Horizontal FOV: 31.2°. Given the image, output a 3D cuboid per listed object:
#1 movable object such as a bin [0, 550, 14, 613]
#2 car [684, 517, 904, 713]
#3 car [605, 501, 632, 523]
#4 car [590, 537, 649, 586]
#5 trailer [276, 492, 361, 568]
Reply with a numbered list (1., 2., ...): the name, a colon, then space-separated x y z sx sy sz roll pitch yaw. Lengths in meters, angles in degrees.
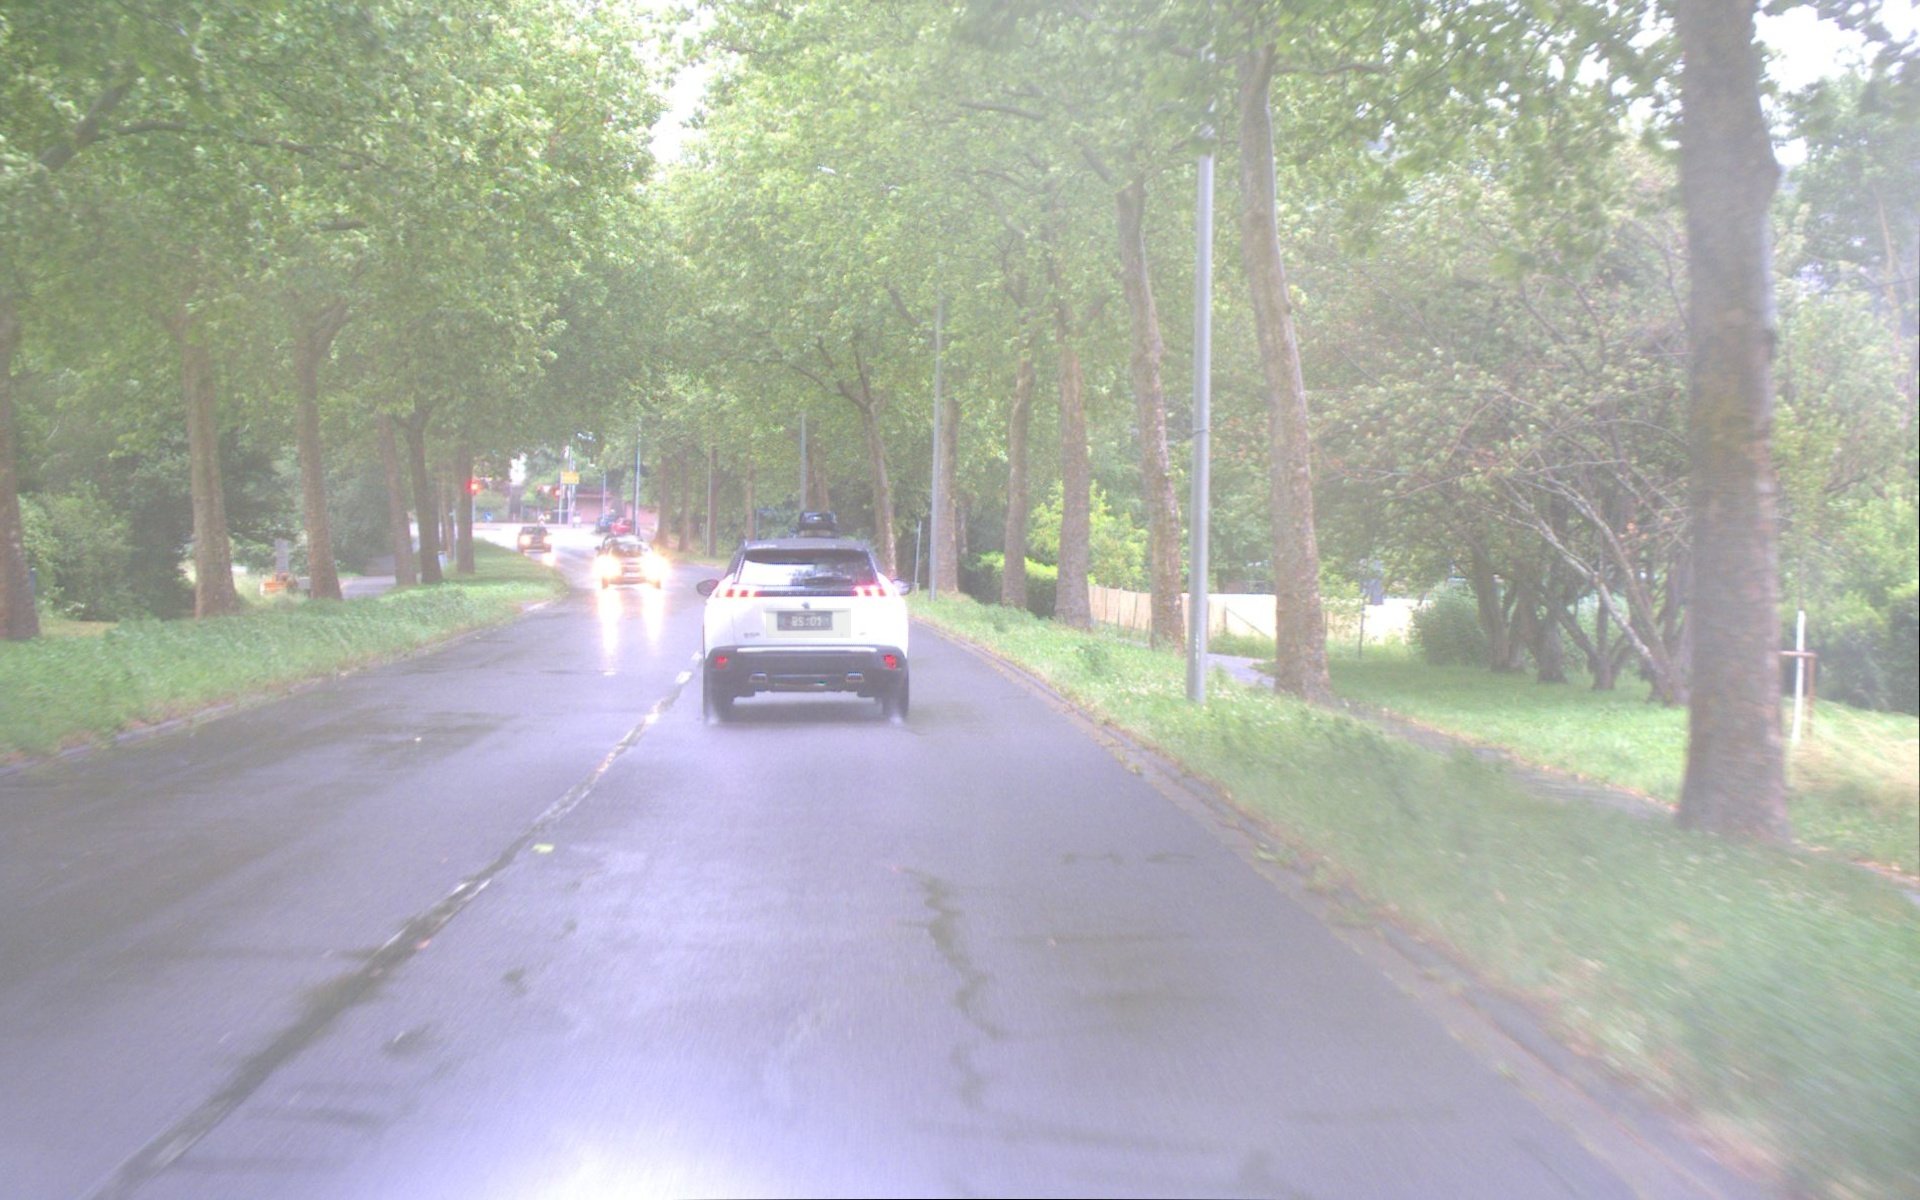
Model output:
1. movable object such as a bin: -22.221 -0.435 78.611 0.962 1.417 0.966 1 1 -6
2. car: -1.512 0.081 30.504 1.793 1.573 3.845 1 2 -4
3. car: -24.652 -6.351 248.448 1.827 1.590 3.654 1 1 -4
4. car: -10.191 -1.170 103.169 1.731 1.418 4.226 0 1 -5
5. trailer: -22.528 -2.454 120.948 2.484 2.558 5.334 1 1 -6
